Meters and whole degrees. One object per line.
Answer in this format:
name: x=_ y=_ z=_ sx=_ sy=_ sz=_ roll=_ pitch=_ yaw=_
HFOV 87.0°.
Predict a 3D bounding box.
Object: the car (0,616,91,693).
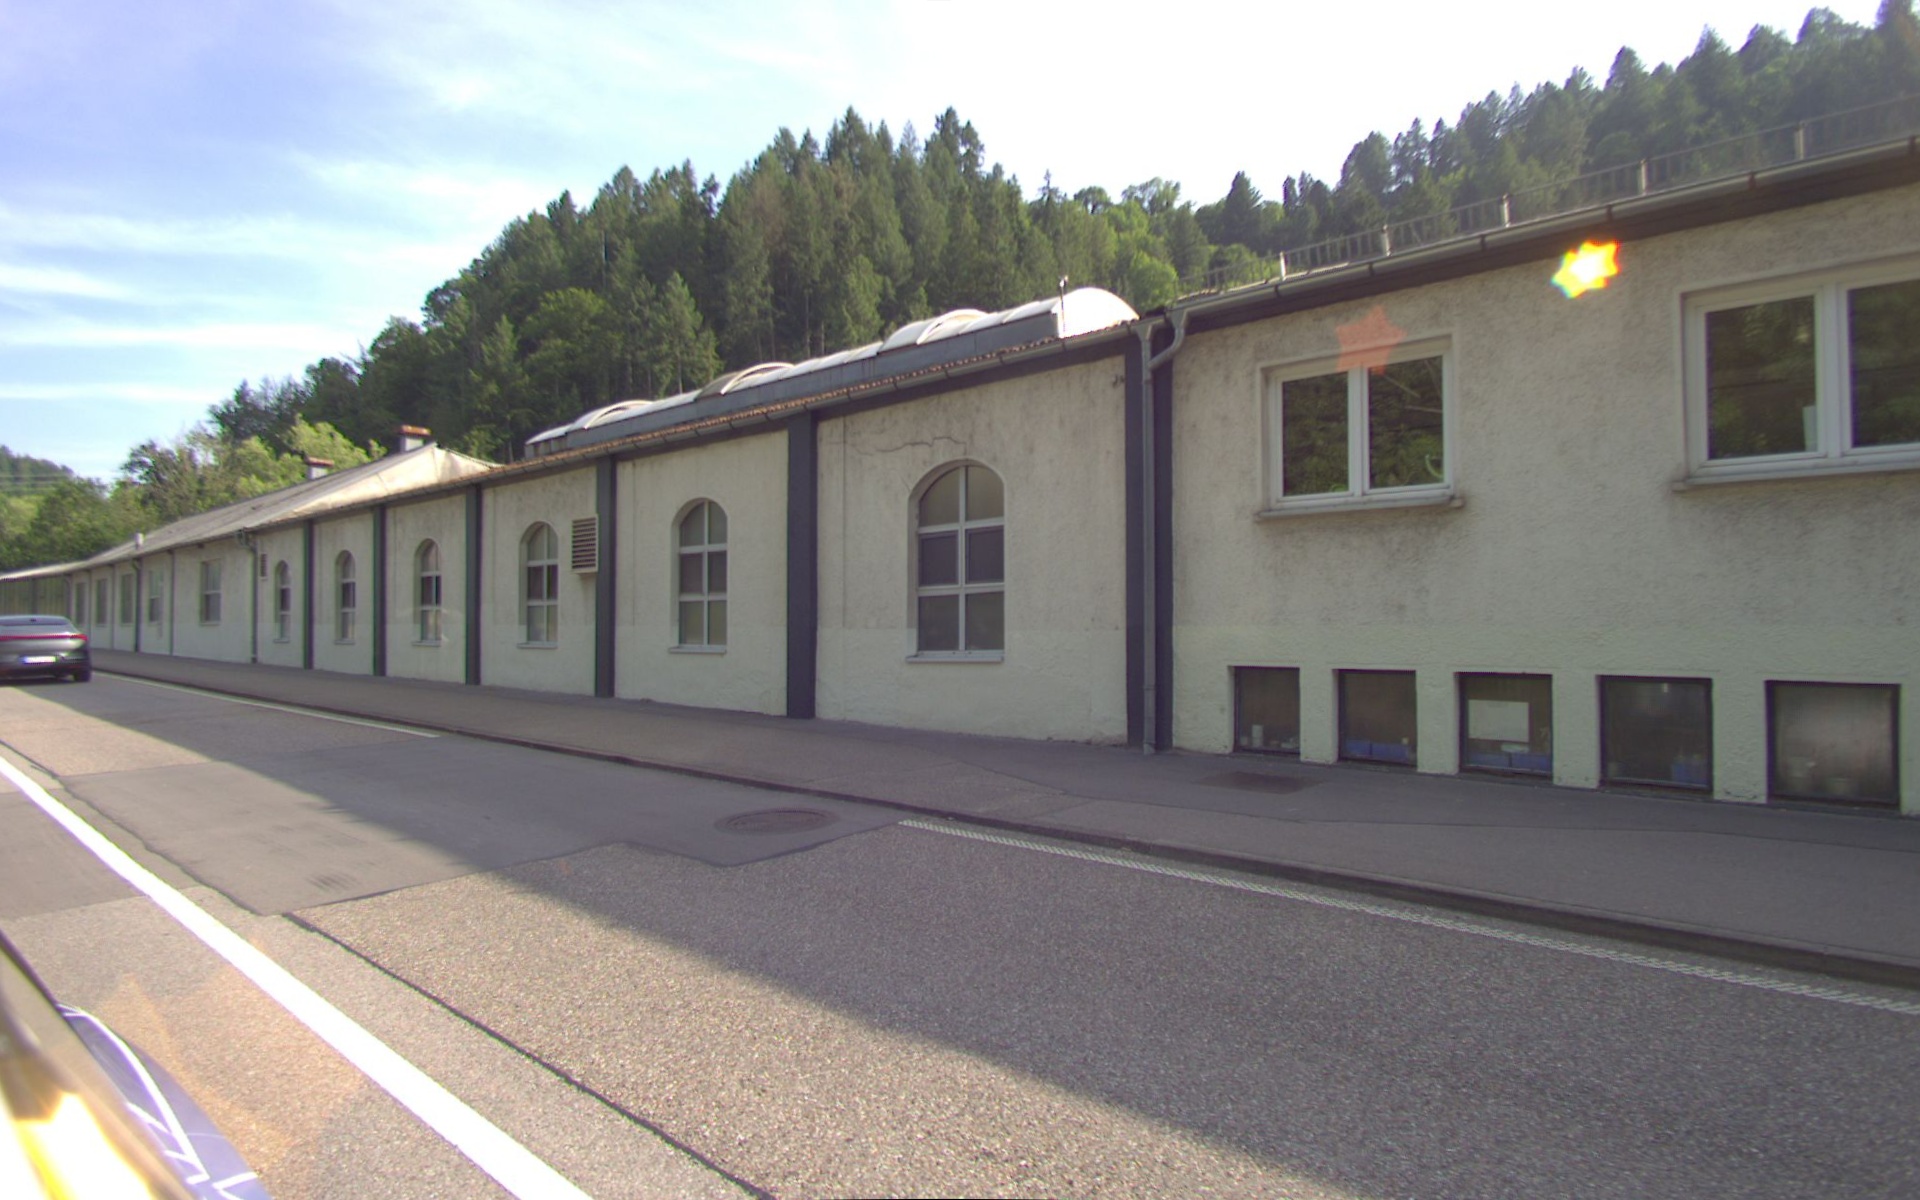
car: x=-21.730 y=1.217 z=23.377 sx=4.456 sy=1.593 sz=1.910 roll=-1 pitch=0 yaw=41
